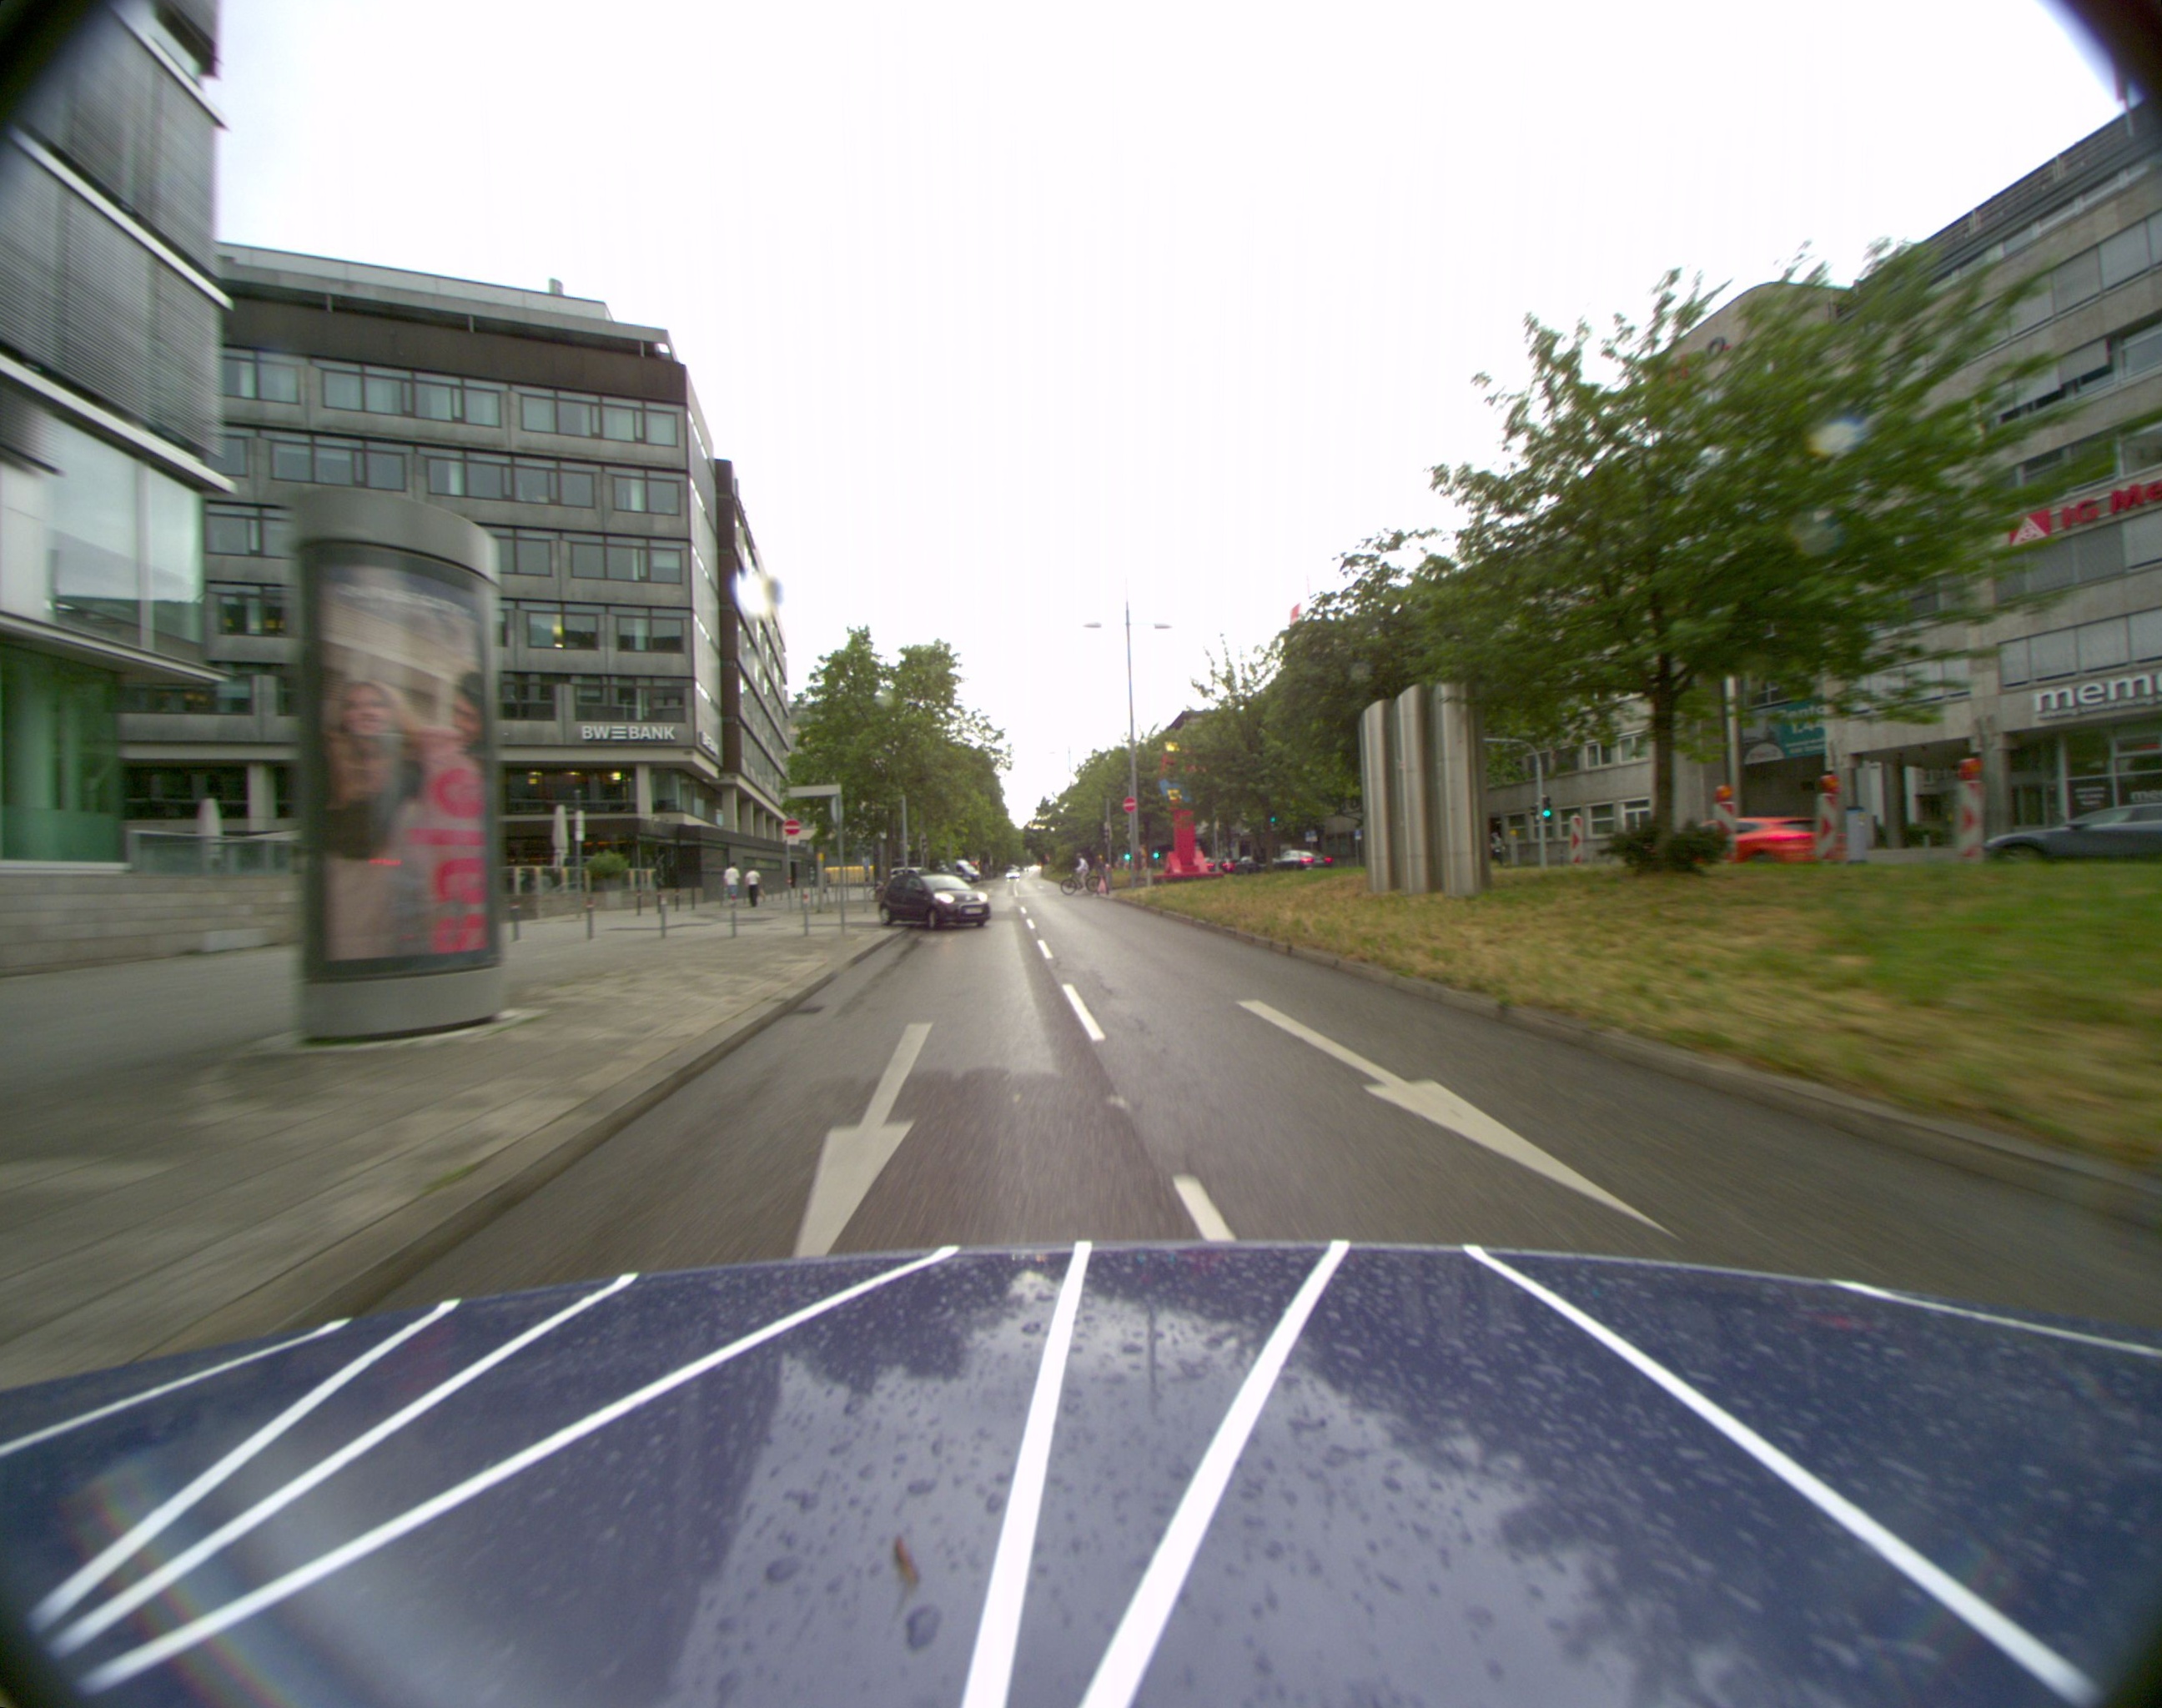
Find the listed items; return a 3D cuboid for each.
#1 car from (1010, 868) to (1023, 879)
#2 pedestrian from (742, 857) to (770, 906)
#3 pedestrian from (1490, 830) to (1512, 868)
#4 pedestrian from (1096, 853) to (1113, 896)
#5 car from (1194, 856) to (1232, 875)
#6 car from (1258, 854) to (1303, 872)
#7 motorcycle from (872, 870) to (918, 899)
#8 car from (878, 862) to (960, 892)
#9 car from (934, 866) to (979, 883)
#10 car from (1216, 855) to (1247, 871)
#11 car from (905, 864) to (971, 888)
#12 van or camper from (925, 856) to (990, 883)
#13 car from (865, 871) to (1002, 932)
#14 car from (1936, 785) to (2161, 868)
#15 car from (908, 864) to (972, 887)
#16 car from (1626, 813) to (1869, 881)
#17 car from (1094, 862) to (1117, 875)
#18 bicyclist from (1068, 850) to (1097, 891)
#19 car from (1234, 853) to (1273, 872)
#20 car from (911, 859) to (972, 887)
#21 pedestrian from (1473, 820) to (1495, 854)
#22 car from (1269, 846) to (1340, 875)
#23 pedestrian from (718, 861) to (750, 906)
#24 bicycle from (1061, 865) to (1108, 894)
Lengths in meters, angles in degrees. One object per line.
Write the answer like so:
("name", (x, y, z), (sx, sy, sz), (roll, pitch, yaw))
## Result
("car", (-10.318, 3.090, 120.713), (1.791, 1.736, 4.573), (-2, -1, -8))
("pedestrian", (-13.829, 1.175, 32.351), (0.852, 2.027, 0.752), (-3, 0, -8))
("pedestrian", (19.993, -0.226, 36.160), (0.529, 1.777, 0.721), (-3, 0, -4))
("pedestrian", (0.944, 0.831, 30.726), (0.528, 1.675, 0.722), (-3, 0, 9))
("car", (10.088, 0.880, 58.465), (1.795, 1.406, 3.998), (-1, -1, -7))
("car", (16.068, 0.743, 61.442), (1.867, 1.421, 4.563), (-2, -1, -8))
("motorcycle", (-9.361, 1.533, 38.254), (2.088, 1.349, 0.677), (-3, 0, 2))
("car", (-10.186, 1.453, 47.756), (4.793, 1.640, 1.919), (-3, -1, 25))
("car", (-12.274, 2.016, 74.758), (4.052, 1.415, 1.711), (-3, -1, 24))
("car", (14.089, 0.854, 71.429), (1.691, 1.493, 3.690), (-2, -1, -8))
("car", (-10.462, 1.602, 55.740), (4.348, 1.528, 1.919), (-3, -1, 22))
("van or camper", (-12.723, 1.611, 78.400), (6.251, 2.432, 2.319), (-3, 0, 25))
("car", (-4.020, 1.236, 20.371), (3.824, 1.408, 1.638), (-3, 0, 44))
("car", (22.985, -0.589, 17.048), (1.867, 1.715, 4.789), (-2, 0, -8))
("car", (-10.849, 1.638, 58.500), (4.381, 1.528, 1.919), (-3, -1, 22))
("car", (15.853, -0.117, 18.413), (1.868, 1.421, 4.129), (-2, -1, -11))
("car", (2.895, 1.727, 90.254), (1.796, 1.458, 4.722), (-1, -1, -11))
("bicyclist", (0.062, 0.754, 34.550), (1.079, 1.739, 0.812), (-6, 2, -3))
("car", (15.039, 0.747, 66.429), (1.867, 1.612, 4.465), (-2, -1, -8))
("car", (-11.260, 1.520, 61.357), (4.508, 1.981, 1.925), (-3, 0, 24))
("pedestrian", (19.602, -0.830, 36.963), (0.607, 1.619, 0.619), (-3, 0, -4))
("car", (12.000, 0.362, 41.109), (1.868, 1.421, 4.563), (-2, -1, -9))
("pedestrian", (-14.670, 1.239, 32.150), (0.803, 1.857, 0.898), (-3, 0, 2))
("bicycle", (0.160, 1.163, 34.585), (1.977, 1.132, 0.777), (-5, 0, -4))
